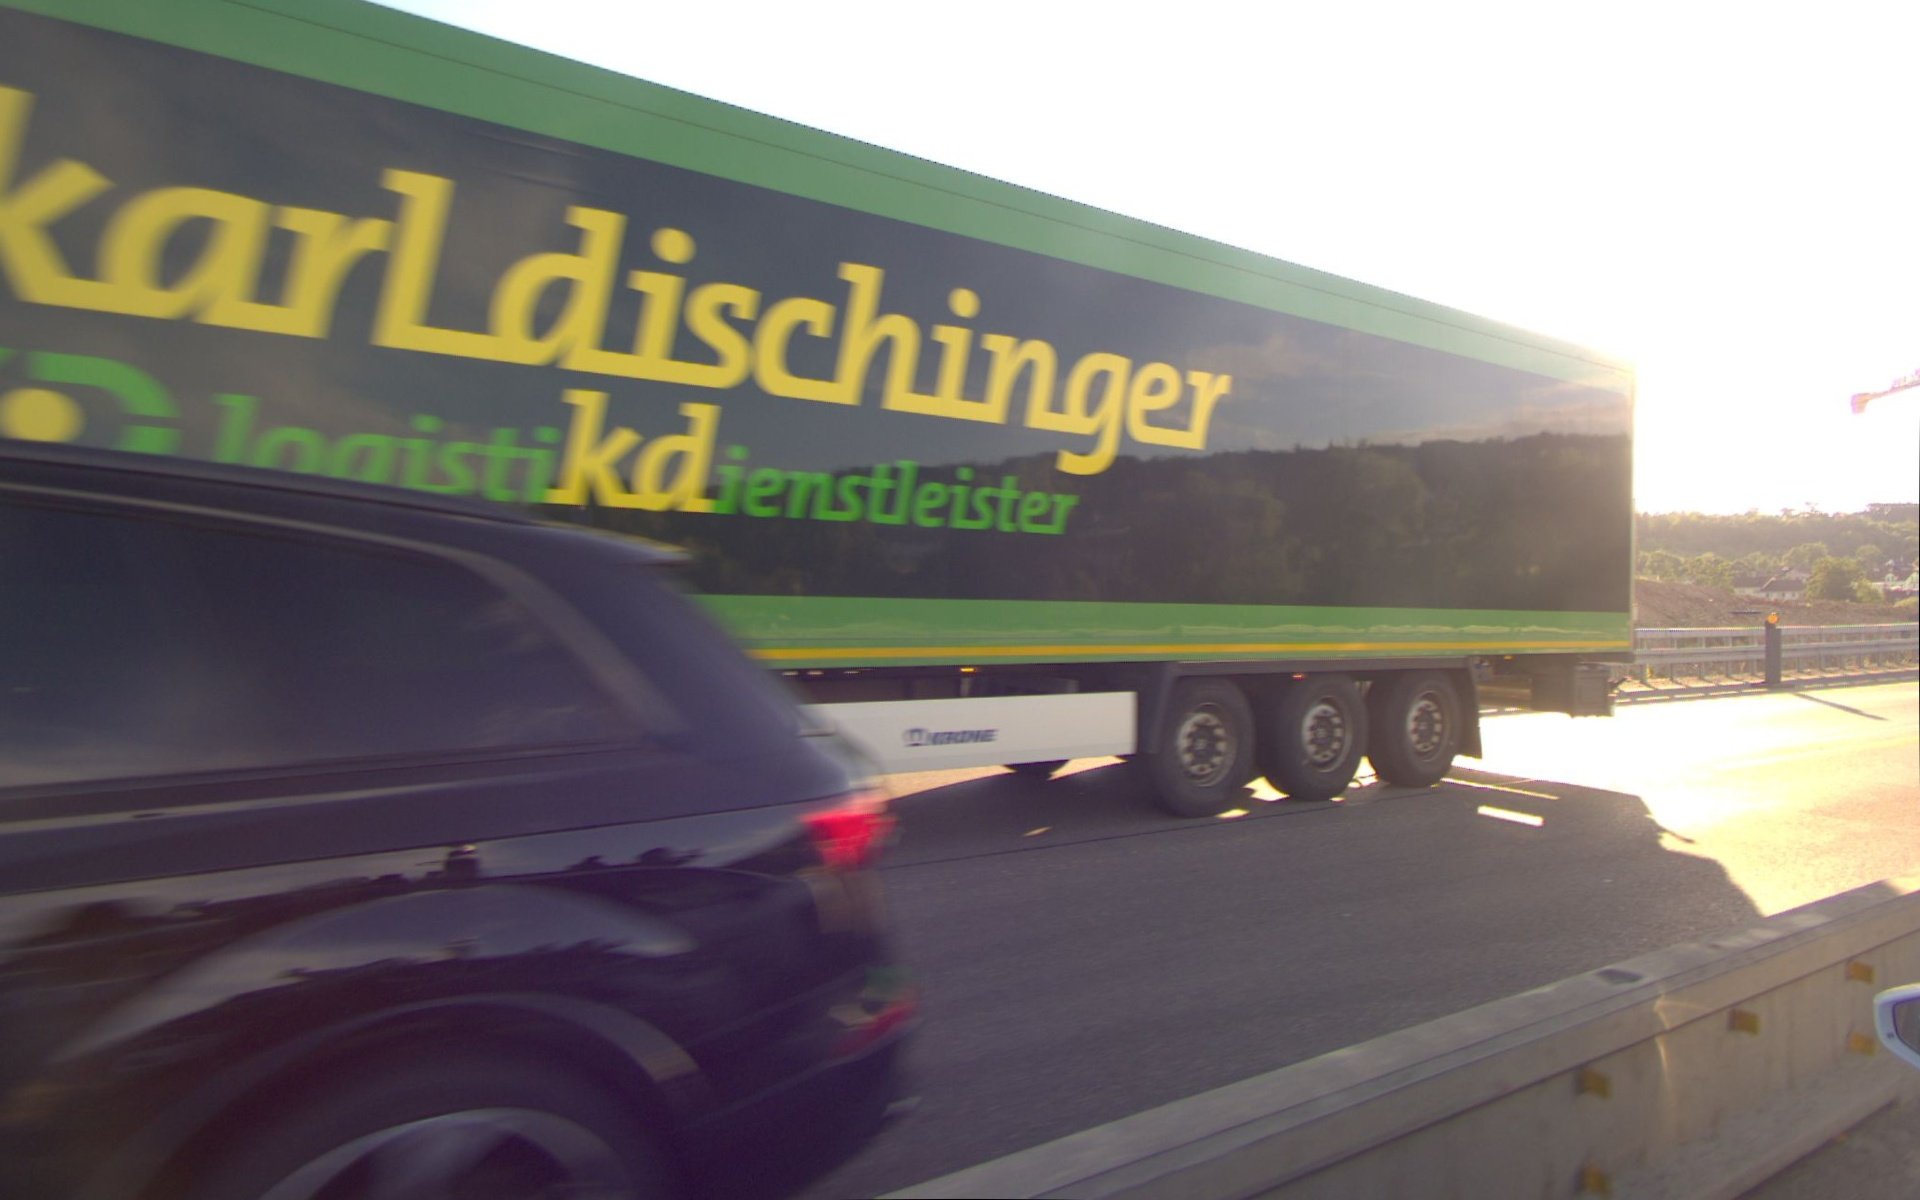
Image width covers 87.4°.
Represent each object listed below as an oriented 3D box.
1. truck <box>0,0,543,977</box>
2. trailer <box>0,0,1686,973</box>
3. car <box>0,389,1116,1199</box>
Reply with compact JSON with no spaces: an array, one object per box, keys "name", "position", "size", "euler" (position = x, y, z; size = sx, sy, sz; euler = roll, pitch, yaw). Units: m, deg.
[{"name":"truck","position":[-5.071,-0.731,4.314],"size":[5.708,4.136,2.756],"euler":[1,1,-30]},{"name":"trailer","position":[0.883,-0.582,7.921],"size":[13.526,4.085,2.759],"euler":[1,1,-31]},{"name":"car","position":[-2.081,0.535,1.788],"size":[4.442,1.630,1.902],"euler":[2,-1,-30]}]
